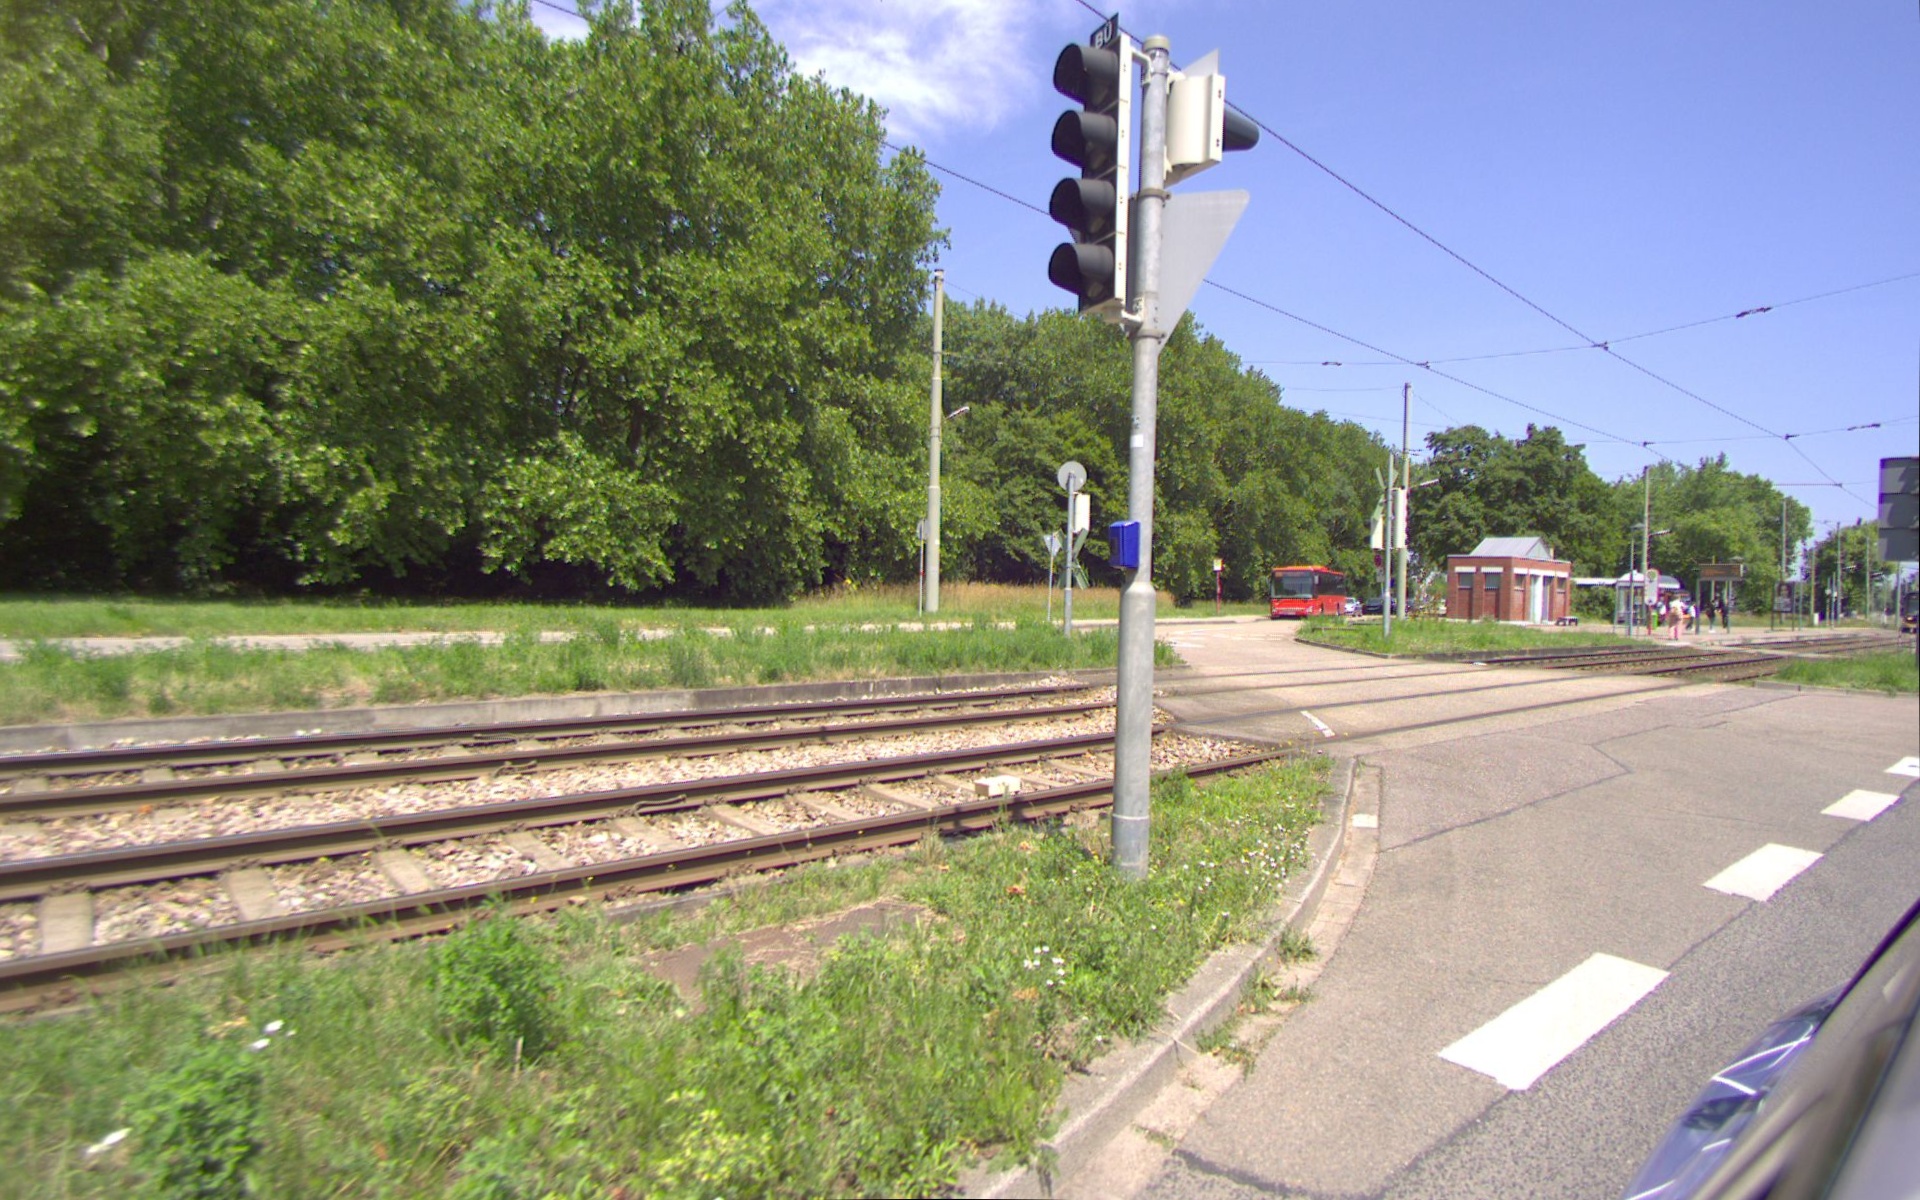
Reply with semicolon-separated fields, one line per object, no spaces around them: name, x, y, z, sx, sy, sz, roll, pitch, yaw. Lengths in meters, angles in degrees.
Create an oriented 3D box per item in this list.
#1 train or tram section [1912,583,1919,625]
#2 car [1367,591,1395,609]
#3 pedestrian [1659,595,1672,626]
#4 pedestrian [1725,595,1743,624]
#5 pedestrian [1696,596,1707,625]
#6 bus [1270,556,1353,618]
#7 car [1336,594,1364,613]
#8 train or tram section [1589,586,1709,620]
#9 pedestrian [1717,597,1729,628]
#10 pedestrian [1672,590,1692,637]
train or tram section;81.166;0.394;83.805;7.131;3.364;2.523;1;1;-40
car;37.757;-0.048;90.758;1.872;1.530;3.958;2;1;30
pedestrian;42.012;0.636;60.259;0.726;1.796;0.382;1;1;-38
pedestrian;48.807;0.616;63.808;0.645;1.786;0.707;1;1;-39
pedestrian;40.644;0.574;55.446;0.474;1.617;0.361;0;0;-38
bus;22.003;-0.785;62.823;2.744;3.482;12.316;0;0;29
car;28.829;0.254;74.742;1.558;1.282;3.964;2;1;26
train or tram section;77.894;0.281;115.011;2.659;3.695;13.208;0;0;-11
pedestrian;40.909;0.672;54.271;0.437;1.667;0.361;1;1;-38
pedestrian;27.684;0.494;38.808;0.632;1.781;0.806;0;0;36
